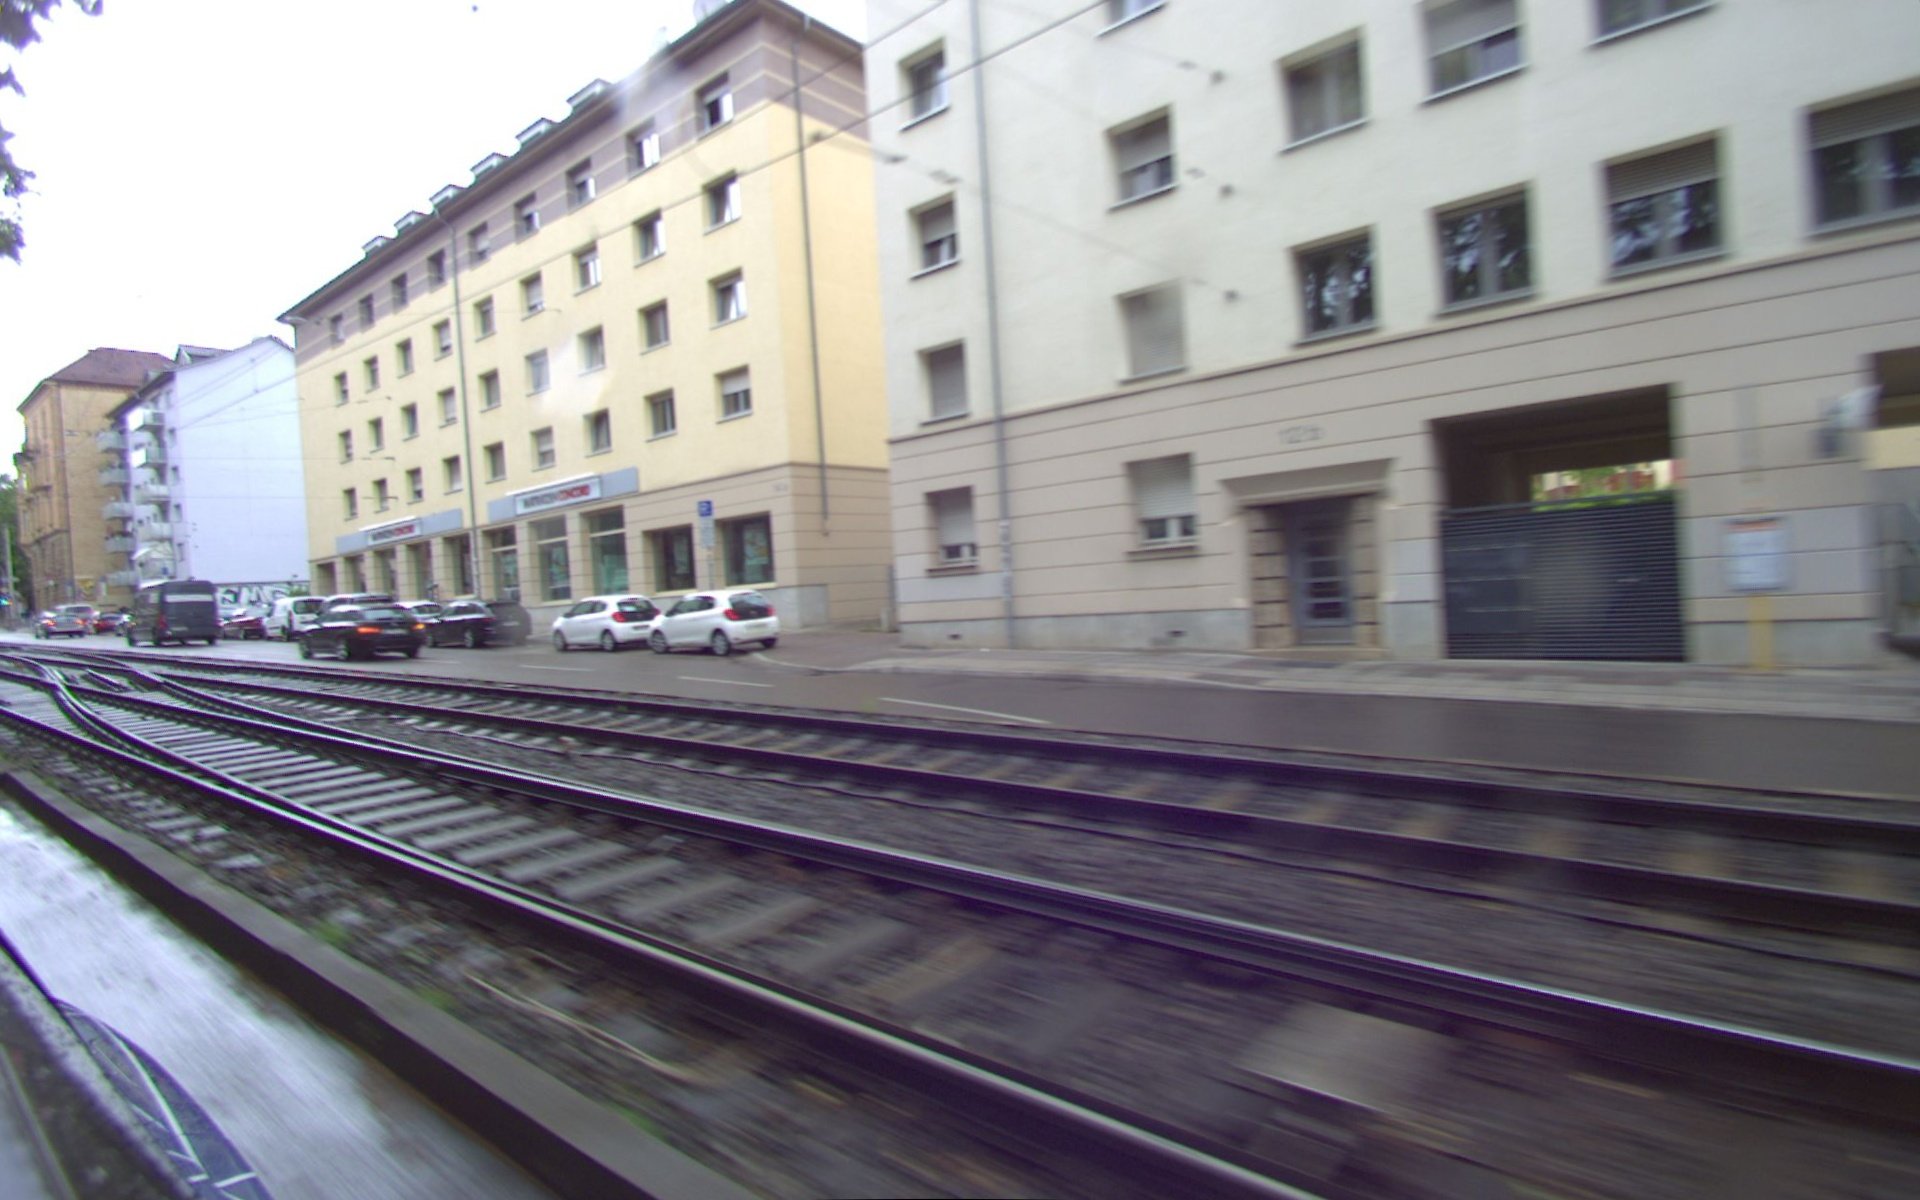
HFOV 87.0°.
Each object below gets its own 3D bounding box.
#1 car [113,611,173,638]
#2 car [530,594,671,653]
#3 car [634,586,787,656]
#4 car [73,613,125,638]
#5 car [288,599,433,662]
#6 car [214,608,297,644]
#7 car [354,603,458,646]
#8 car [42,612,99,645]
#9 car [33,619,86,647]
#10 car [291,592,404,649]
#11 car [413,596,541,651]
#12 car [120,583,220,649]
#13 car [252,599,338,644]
[{"bbox_3d":[-46.683,1.386,57.778,4.616,1.406,1.664,-1,1,38],"label":"car"},{"bbox_3d":[-9.808,0.638,27.514,3.930,1.407,1.688,-2,2,38],"label":"car"},{"bbox_3d":[-6.042,0.492,24.379,3.536,1.460,1.693,-2,3,38],"label":"car"},{"bbox_3d":[-54.293,1.600,63.802,4.066,1.462,1.638,-1,1,37],"label":"car"},{"bbox_3d":[-16.257,0.850,27.338,4.850,1.497,1.861,-3,0,40],"label":"car"},{"bbox_3d":[-32.214,1.178,46.212,4.827,1.442,1.833,-1,3,40],"label":"car"},{"bbox_3d":[-19.523,0.891,35.607,4.041,1.450,1.676,-2,-3,36],"label":"car"},{"bbox_3d":[-62.435,1.993,71.021,5.296,2.023,2.050,-2,4,40],"label":"car"},{"bbox_3d":[-52.084,1.889,58.516,4.277,1.473,1.694,-2,1,40],"label":"car"},{"bbox_3d":[-23.498,0.769,38.750,5.455,1.919,1.974,-1,3,40],"label":"car"},{"bbox_3d":[-15.189,0.730,31.746,4.578,1.510,1.796,-2,2,40],"label":"car"},{"bbox_3d":[-32.451,0.617,41.508,5.994,2.470,1.974,0,2,40],"label":"car"},{"bbox_3d":[-27.940,0.885,42.462,4.458,1.729,1.848,-1,1,41],"label":"car"}]
